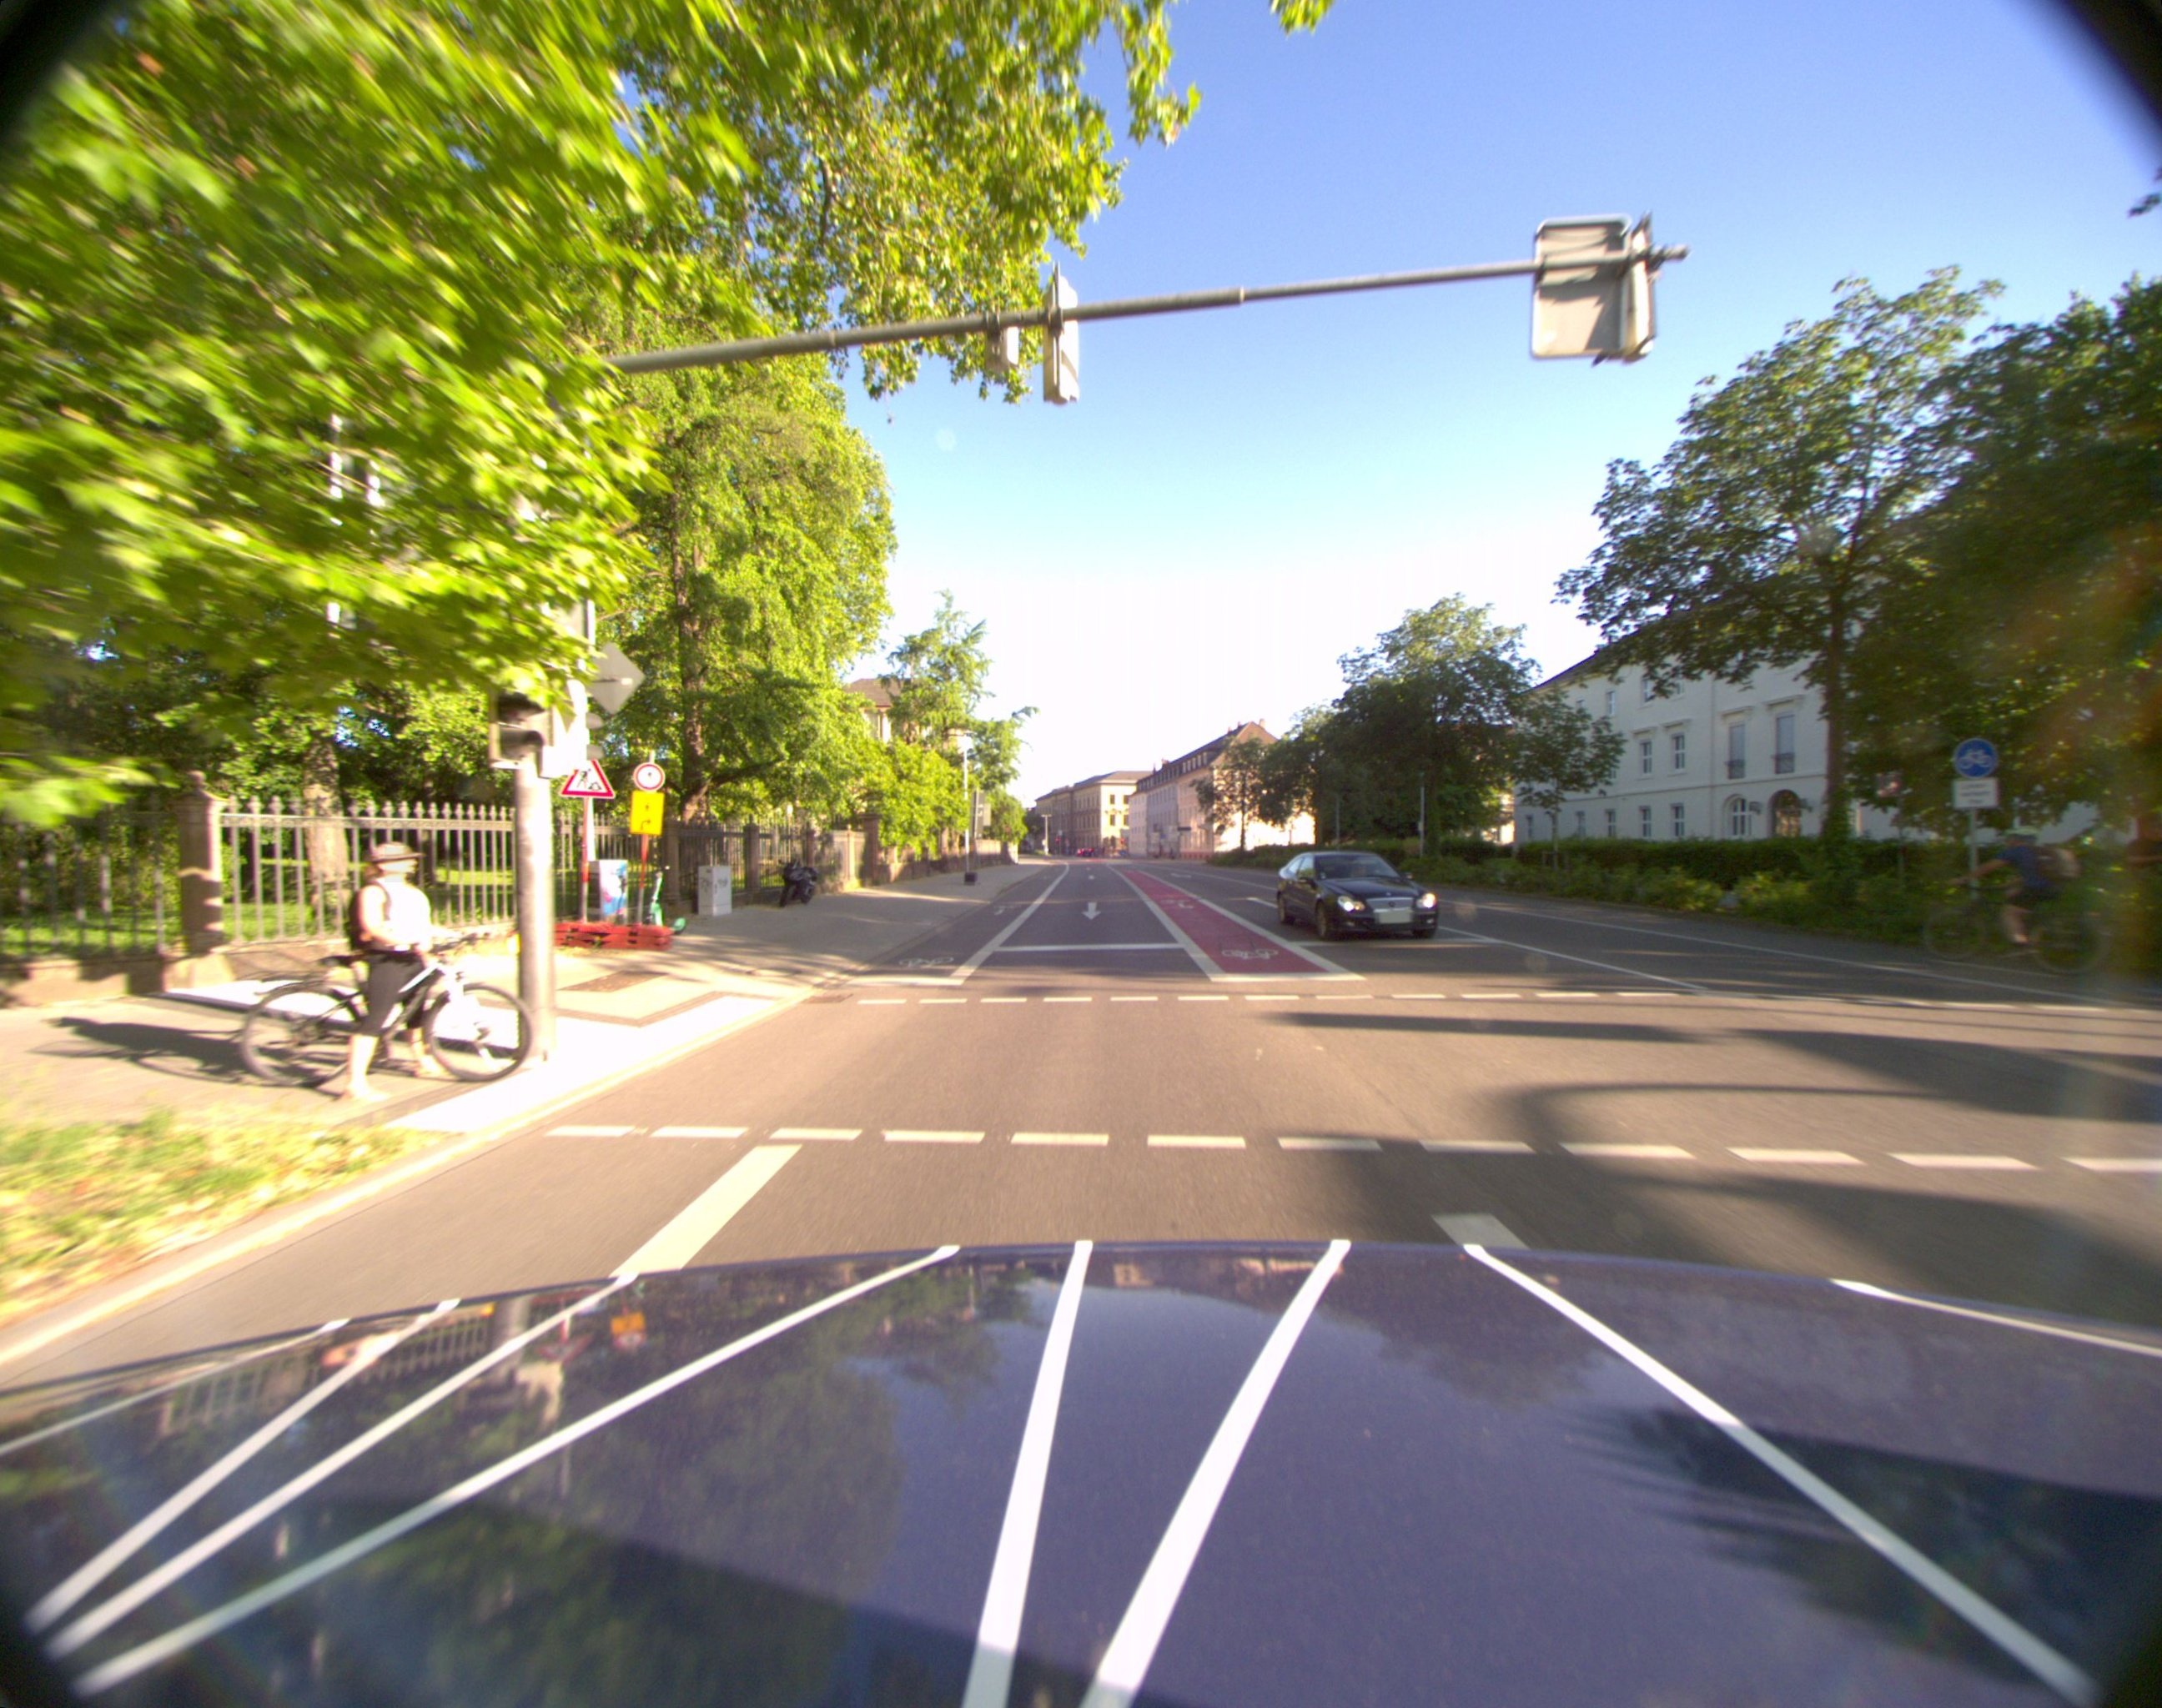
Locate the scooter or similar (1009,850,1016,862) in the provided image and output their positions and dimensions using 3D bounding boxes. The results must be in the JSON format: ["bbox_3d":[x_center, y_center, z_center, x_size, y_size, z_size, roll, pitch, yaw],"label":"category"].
[{"bbox_3d":[-6.117,0.197,68.137,0.416,1.035,1.779,-2,1,2],"label":"scooter or similar"}]

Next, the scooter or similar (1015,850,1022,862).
[{"bbox_3d":[-5.612,0.199,68.115,0.416,1.035,1.779,-2,1,2],"label":"scooter or similar"}]

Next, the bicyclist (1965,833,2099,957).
[{"bbox_3d":[11.675,0.470,9.352,0.698,1.458,0.757,0,1,-9],"label":"bicyclist"}]

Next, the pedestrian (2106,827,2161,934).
[{"bbox_3d":[17.229,0.413,12.155,0.691,1.672,0.681,0,1,10],"label":"pedestrian"}]

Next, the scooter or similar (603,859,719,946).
[{"bbox_3d":[-6.842,0.747,12.506,0.794,1.248,1.836,4,1,1],"label":"scooter or similar"}]

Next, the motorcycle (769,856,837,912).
[{"bbox_3d":[-6.946,0.714,19.131,0.906,1.285,2.038,0,1,1],"label":"motorcycle"}]

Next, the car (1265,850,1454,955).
[{"bbox_3d":[4.589,0.694,13.286,1.722,1.410,4.526,-2,1,2],"label":"car"}]

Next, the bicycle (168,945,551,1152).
[{"bbox_3d":[-4.632,1.199,4.931,1.988,1.089,0.696,0,1,8],"label":"bicycle"}]

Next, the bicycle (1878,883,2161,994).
[{"bbox_3d":[11.644,0.980,9.571,0.698,1.110,2.187,0,1,-9],"label":"bicycle"}]

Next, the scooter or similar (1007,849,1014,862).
[{"bbox_3d":[-6.109,0.146,65.866,0.416,1.035,1.779,-2,1,2],"label":"scooter or similar"}]

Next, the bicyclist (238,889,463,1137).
[{"bbox_3d":[-4.693,0.970,4.927,0.766,1.439,0.696,0,1,8],"label":"bicyclist"}]
